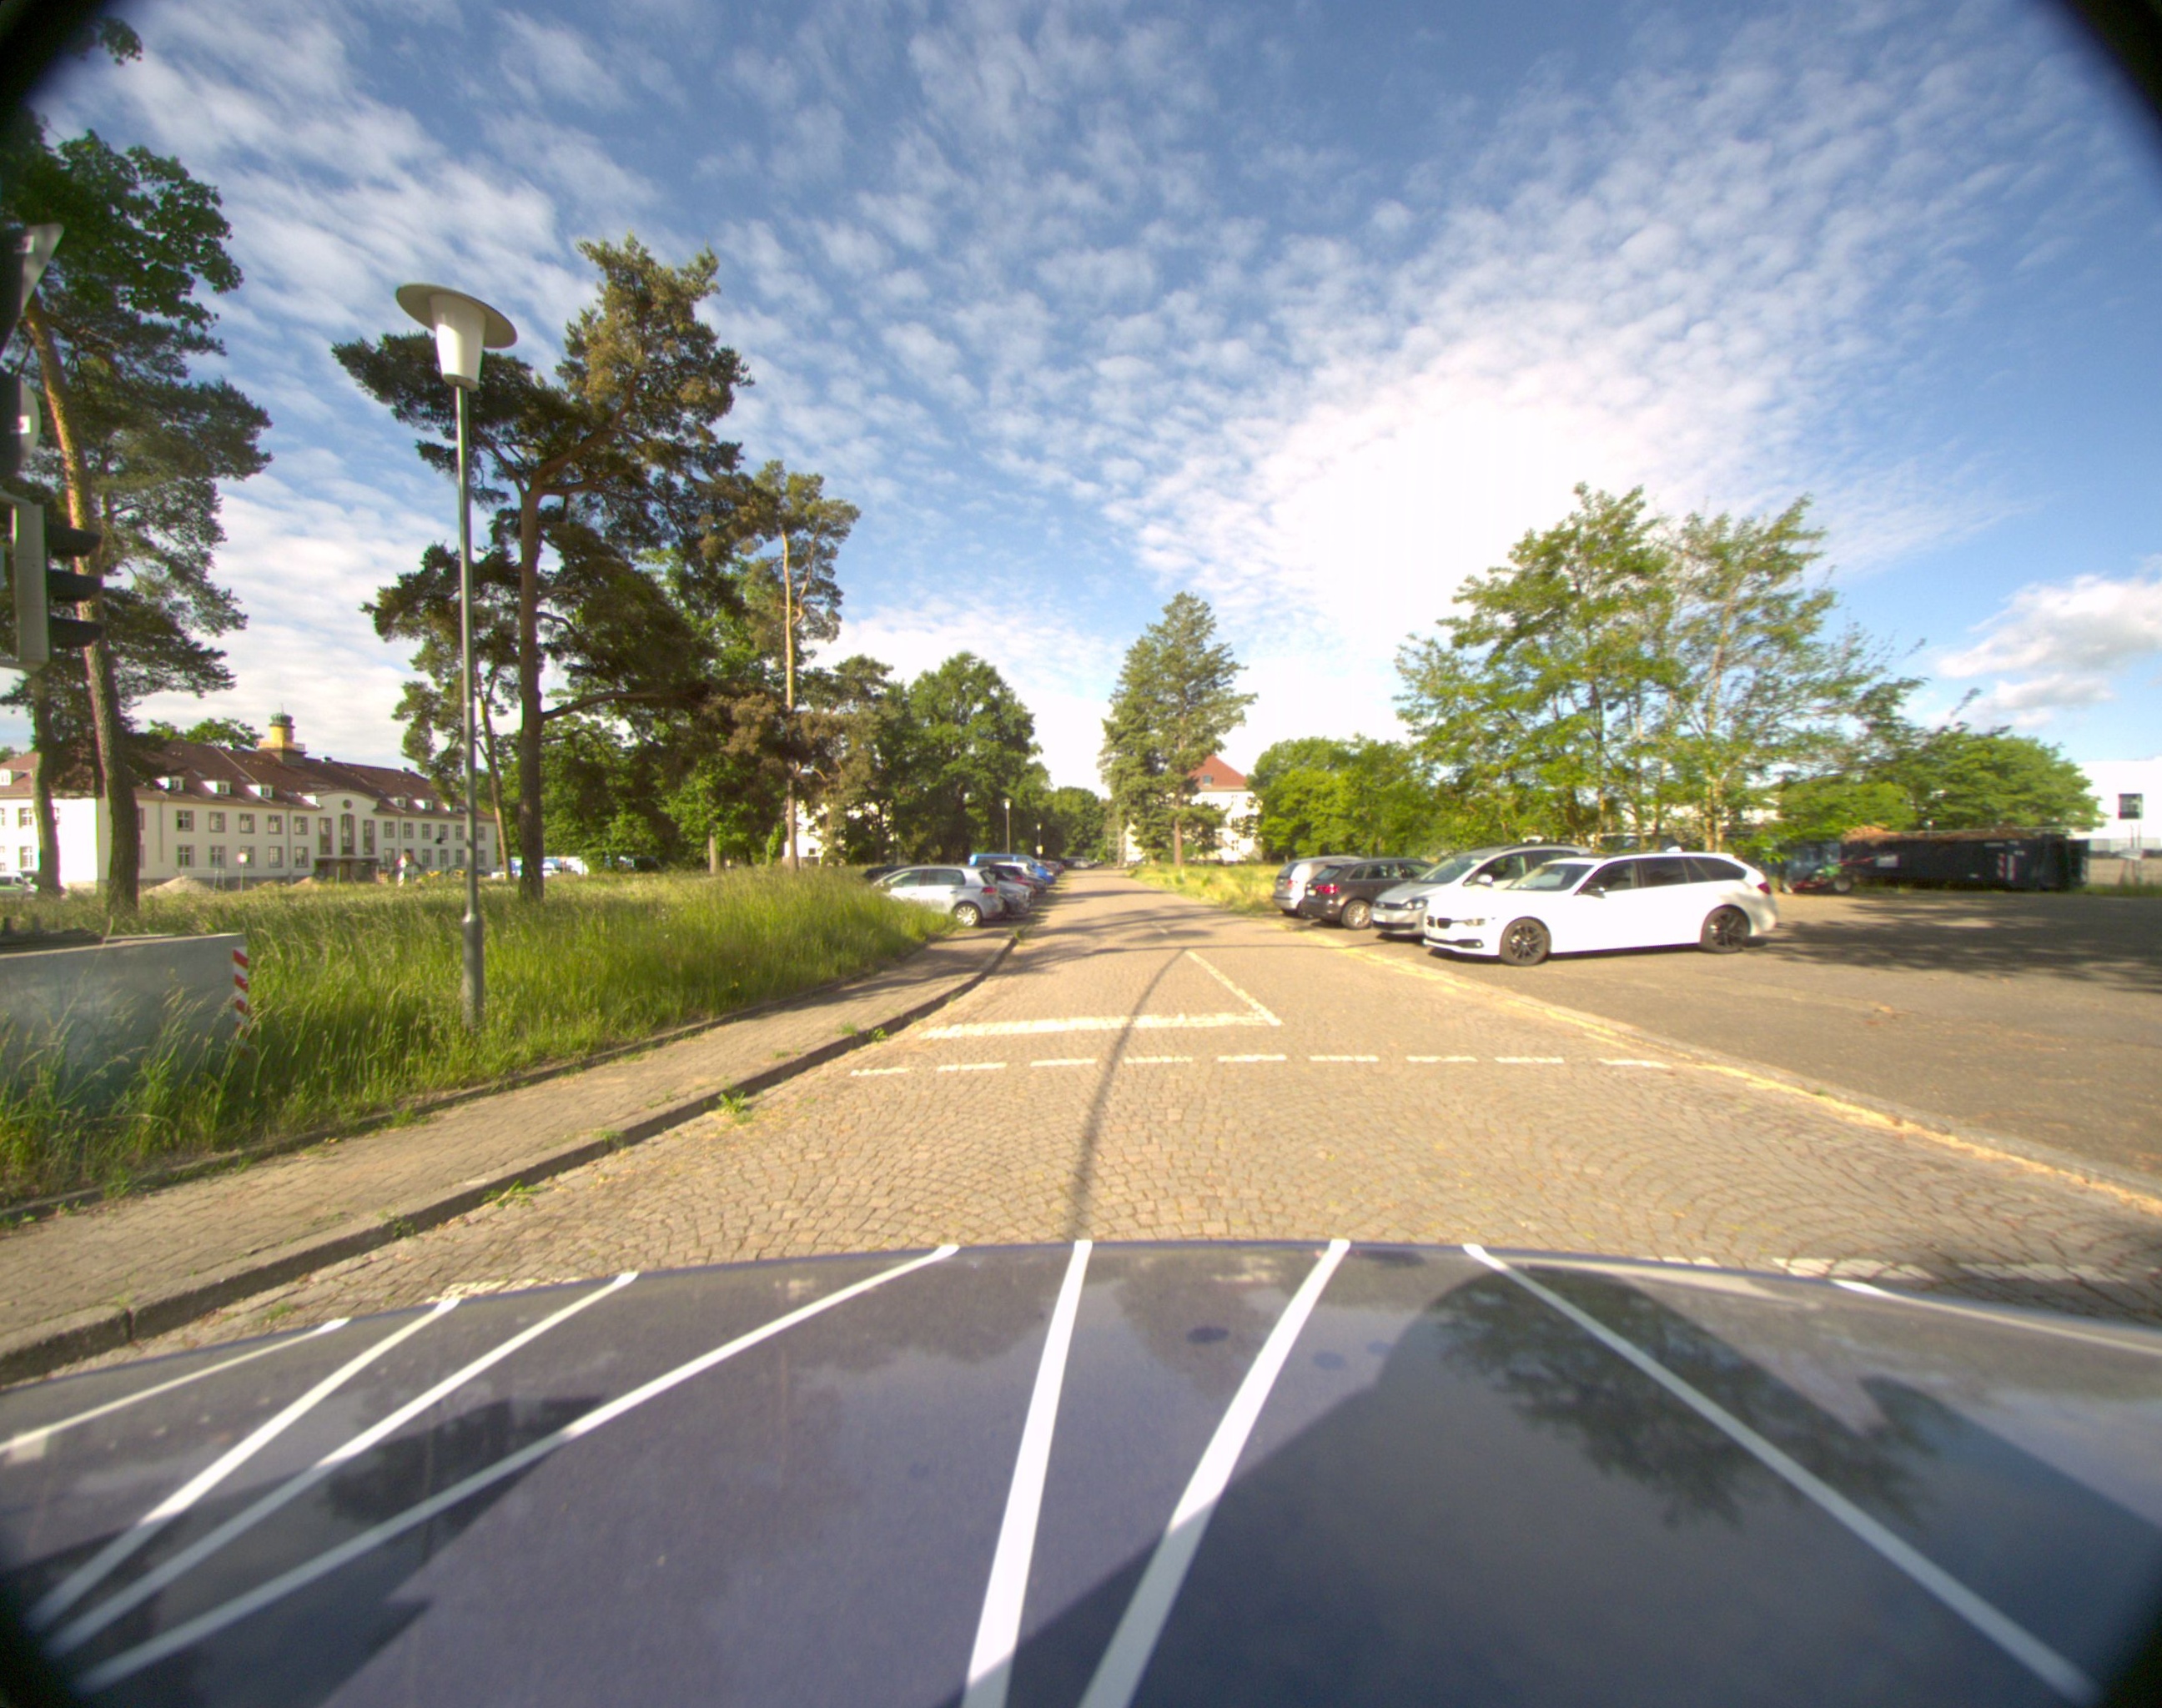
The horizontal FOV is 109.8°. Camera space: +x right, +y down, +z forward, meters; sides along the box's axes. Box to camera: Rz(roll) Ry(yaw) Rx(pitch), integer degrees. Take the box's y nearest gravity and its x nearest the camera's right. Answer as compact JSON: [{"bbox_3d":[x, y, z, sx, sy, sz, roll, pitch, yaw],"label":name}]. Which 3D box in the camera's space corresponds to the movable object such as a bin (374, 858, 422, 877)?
[{"bbox_3d":[-89.326,1.760,99.433,1.999,2.309,4.985,-1,0,-3],"label":"movable object such as a bin"}]

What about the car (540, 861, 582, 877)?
[{"bbox_3d":[-67.244,1.957,98.358,1.998,2.002,4.773,-1,0,1],"label":"car"}]

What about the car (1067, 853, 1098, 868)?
[{"bbox_3d":[0.206,1.046,124.750,5.068,2.251,2.000,-1,0,0],"label":"car"}]

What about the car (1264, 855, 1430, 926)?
[{"bbox_3d":[6.557,0.859,18.927,3.474,1.462,1.636,-4,0,-2],"label":"car"}]

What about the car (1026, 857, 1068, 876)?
[{"bbox_3d":[-3.383,1.244,76.107,3.996,1.605,1.757,-4,1,5],"label":"car"}]

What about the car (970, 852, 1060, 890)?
[{"bbox_3d":[-3.567,0.927,41.827,4.726,2.002,2.000,-1,0,2],"label":"car"}]

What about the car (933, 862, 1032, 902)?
[{"bbox_3d":[-3.901,1.115,30.548,3.779,1.482,1.549,-1,0,0],"label":"car"}]

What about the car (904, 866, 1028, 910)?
[{"bbox_3d":[-3.827,1.120,25.680,3.918,1.385,1.661,0,0,0],"label":"car"}]

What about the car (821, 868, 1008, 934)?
[{"bbox_3d":[-3.838,1.069,18.066,4.026,1.452,1.871,0,0,0],"label":"car"}]

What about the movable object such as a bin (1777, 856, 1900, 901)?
[{"bbox_3d":[19.863,0.625,19.961,2.284,1.101,0.997,-1,0,-2],"label":"movable object such as a bin"}]

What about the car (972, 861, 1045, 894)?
[{"bbox_3d":[-3.458,1.120,36.438,3.264,1.482,1.449,-1,0,3],"label":"car"}]

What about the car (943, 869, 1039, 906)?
[{"bbox_3d":[-3.254,1.221,27.957,3.357,1.248,1.420,-1,0,0],"label":"car"}]

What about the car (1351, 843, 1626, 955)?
[{"bbox_3d":[7.124,0.739,13.525,3.955,1.616,1.721,-4,0,-4],"label":"car"}]

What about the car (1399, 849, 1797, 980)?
[{"bbox_3d":[7.259,0.799,10.957,4.553,1.459,1.752,-3,0,-3],"label":"car"}]

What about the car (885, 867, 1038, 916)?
[{"bbox_3d":[-3.593,1.124,23.453,4.423,1.394,1.826,1,0,-1],"label":"car"}]

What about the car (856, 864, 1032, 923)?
[{"bbox_3d":[-3.613,1.038,20.662,4.507,1.507,1.825,0,0,-3],"label":"car"}]

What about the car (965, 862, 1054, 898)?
[{"bbox_3d":[-3.151,1.133,33.585,3.620,1.482,1.509,-1,0,10],"label":"car"}]

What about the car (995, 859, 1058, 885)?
[{"bbox_3d":[-3.624,1.166,50.765,3.996,1.630,1.757,-1,0,3],"label":"car"}]

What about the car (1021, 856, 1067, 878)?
[{"bbox_3d":[-3.457,1.196,71.313,3.996,1.731,1.757,-4,1,3],"label":"car"}]

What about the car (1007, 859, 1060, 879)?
[{"bbox_3d":[-3.794,1.212,61.126,3.996,1.509,1.757,-1,0,3],"label":"car"}]

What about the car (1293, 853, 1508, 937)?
[{"bbox_3d":[6.704,0.827,16.225,3.806,1.462,1.687,-4,0,-1],"label":"car"}]
